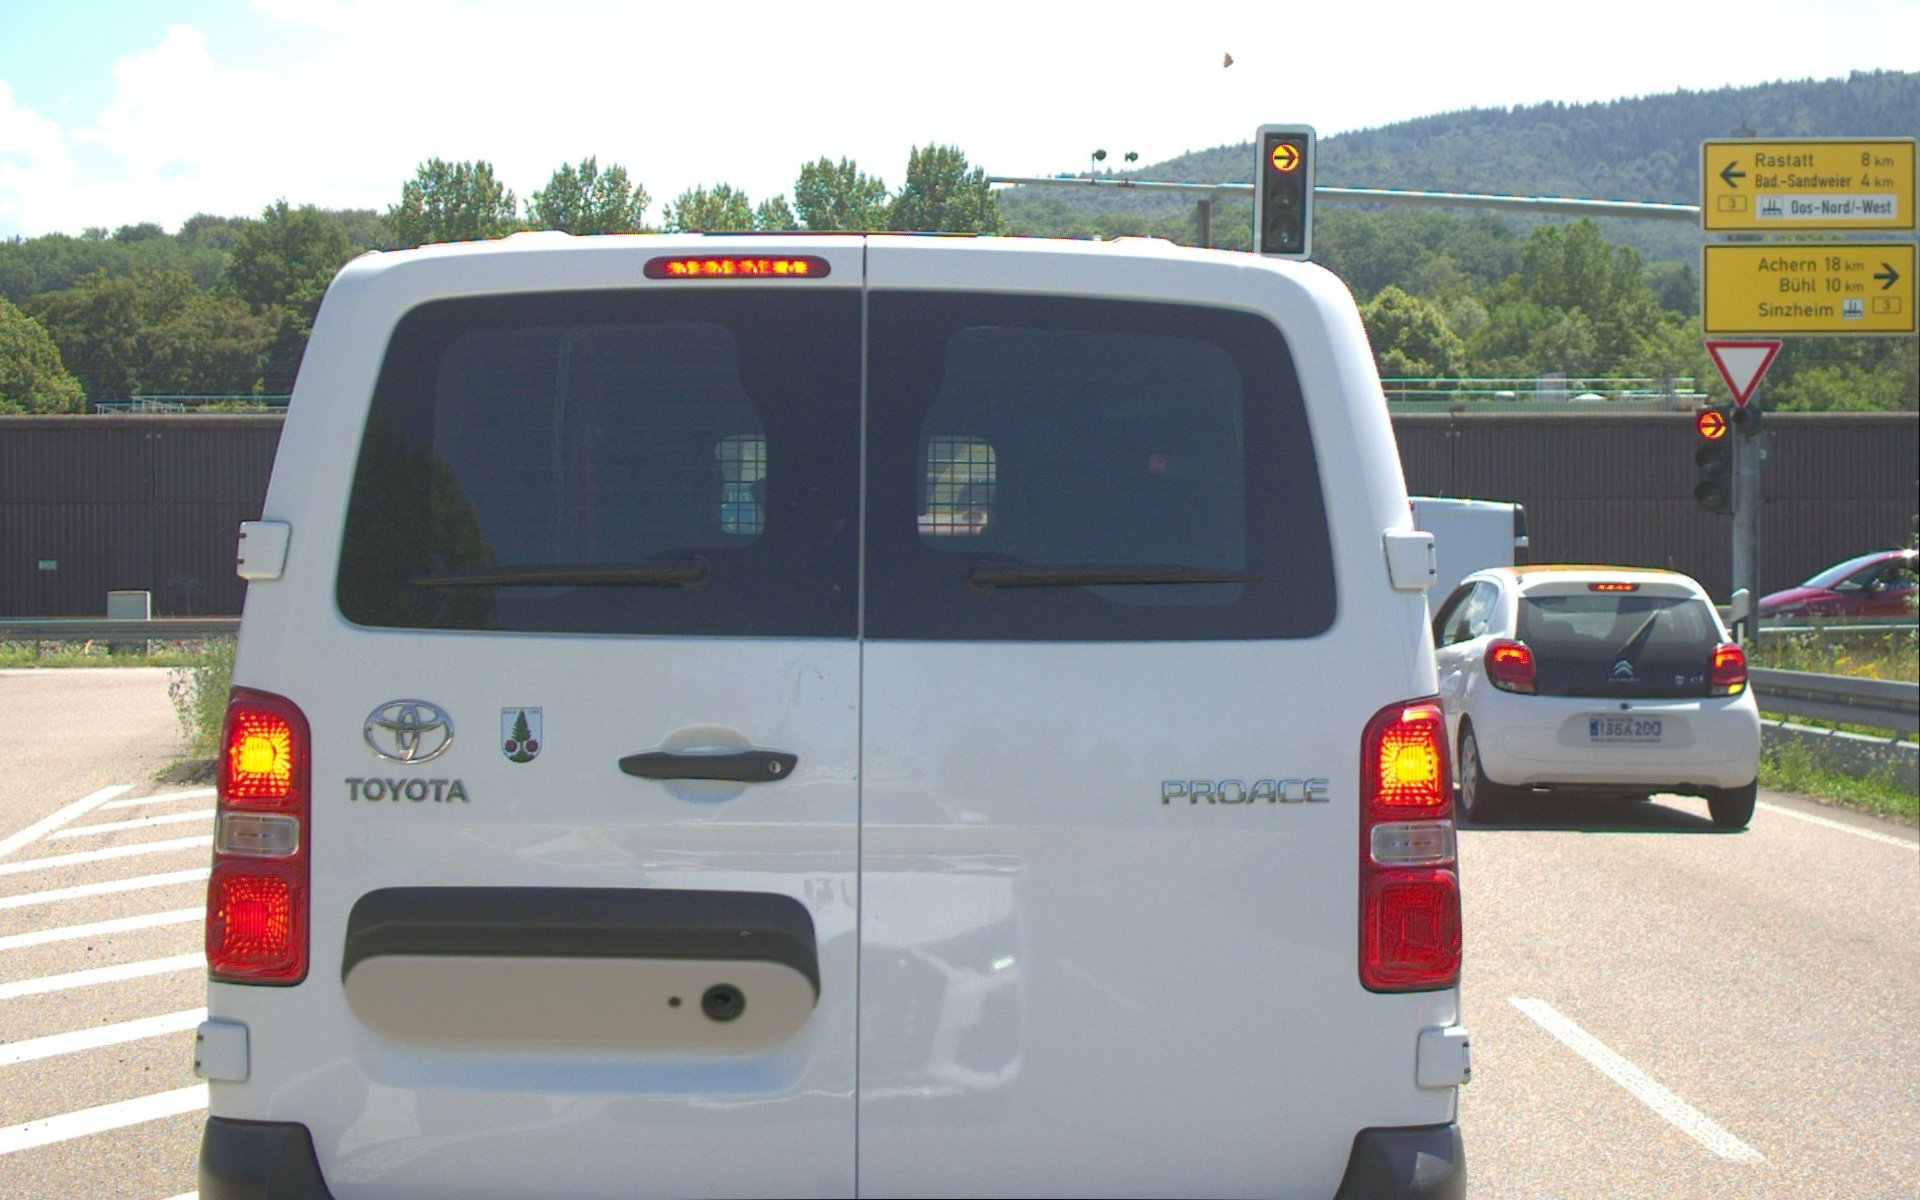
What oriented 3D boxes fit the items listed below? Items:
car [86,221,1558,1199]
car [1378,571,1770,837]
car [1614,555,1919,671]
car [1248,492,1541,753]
[{"bbox_3d":[-0.218,0.443,6.452,1.886,1.880,4.000,1,1,-1],"label":"car"},{"bbox_3d":[3.558,0.555,20.461,1.656,1.426,3.366,1,1,-1],"label":"car"},{"bbox_3d":[12.019,0.180,50.646,4.309,1.651,2.000,0,1,-3],"label":"car"},{"bbox_3d":[3.565,0.147,29.035,1.928,1.993,4.837,1,1,1],"label":"car"}]
